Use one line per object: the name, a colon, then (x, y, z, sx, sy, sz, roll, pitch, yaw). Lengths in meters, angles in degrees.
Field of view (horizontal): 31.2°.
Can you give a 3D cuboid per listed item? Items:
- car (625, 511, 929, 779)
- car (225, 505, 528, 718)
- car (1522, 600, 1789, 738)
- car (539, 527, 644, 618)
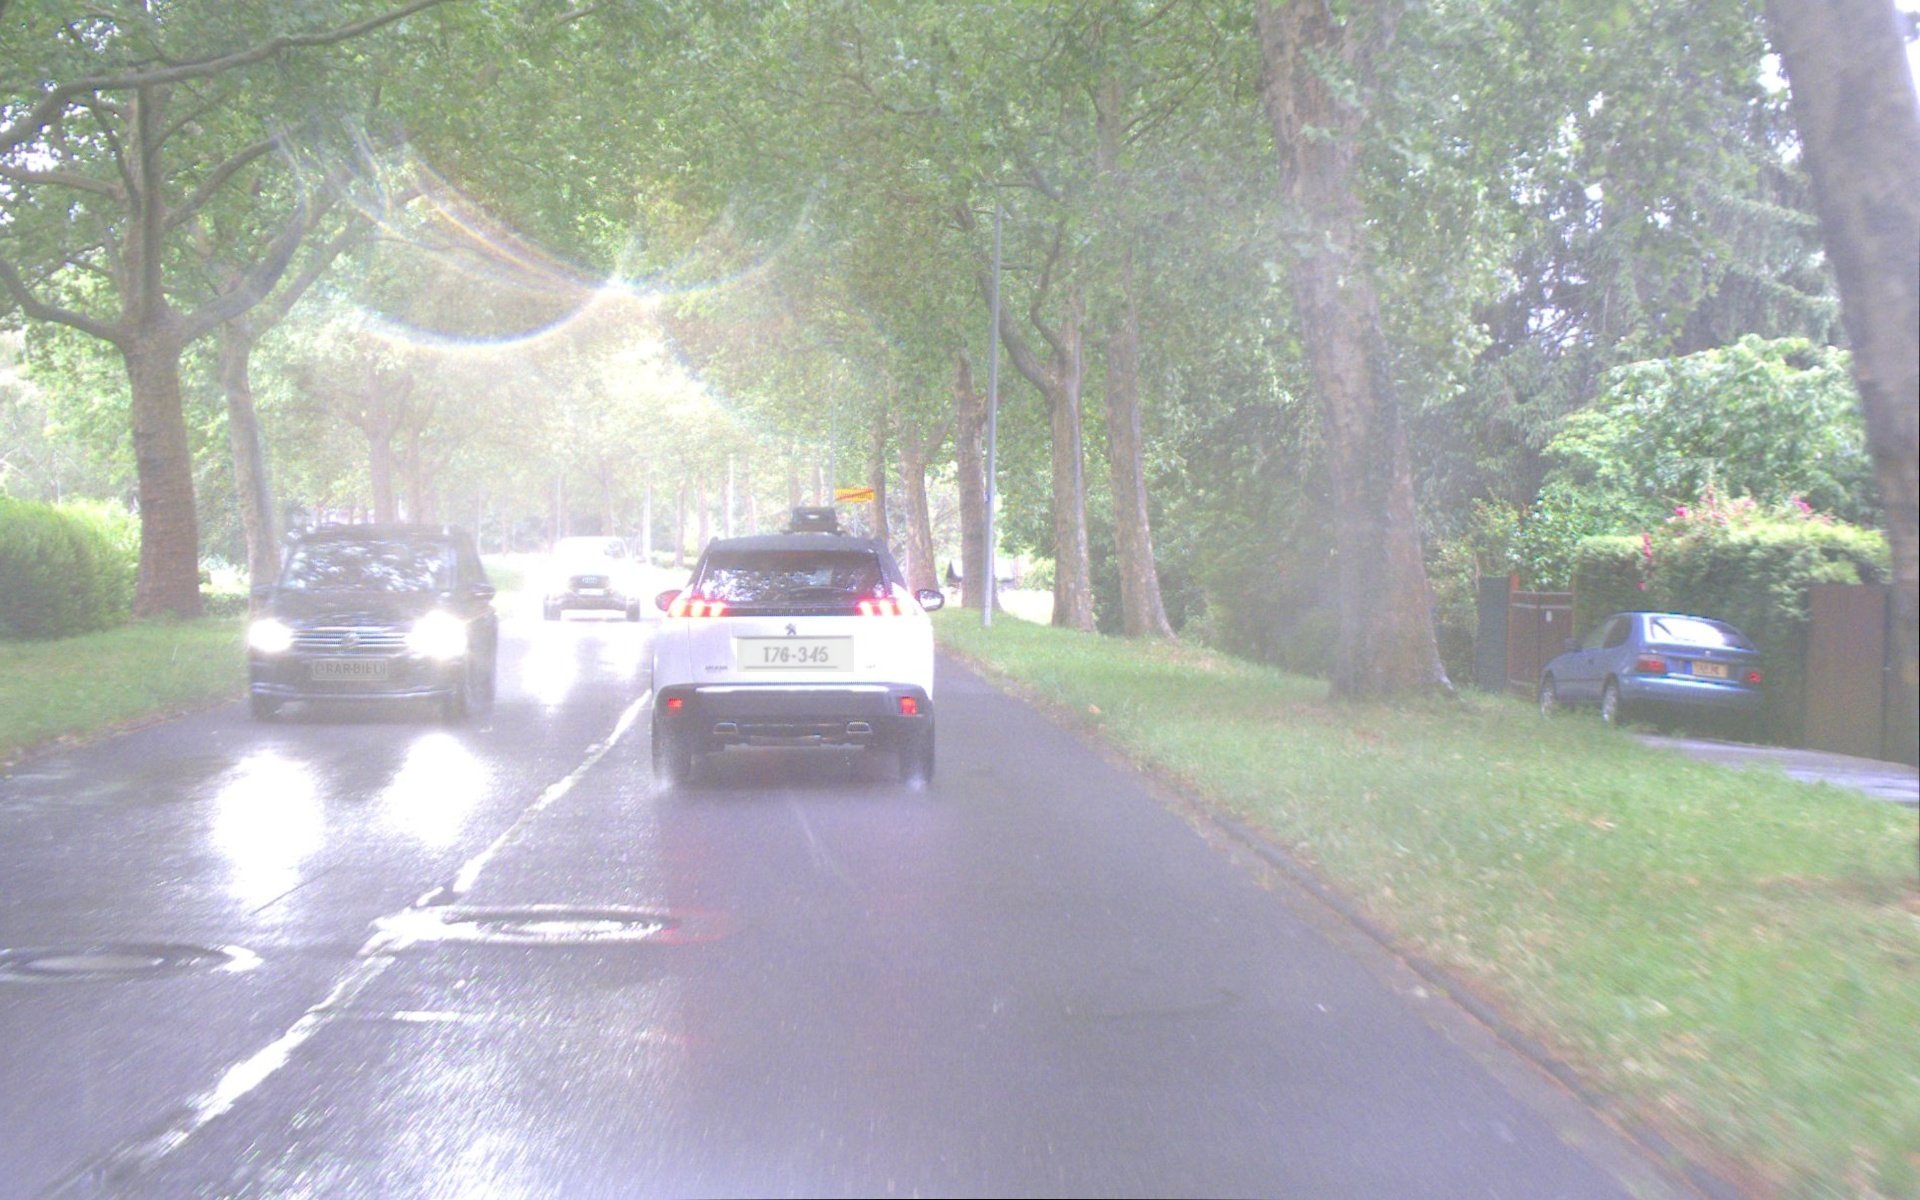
car: (-1.120, 0.242, 22.649, 1.794, 1.573, 3.844, 1, 1, -1)
car: (-4.938, 0.054, 29.730, 1.818, 1.649, 4.774, 1, 1, -1)
car: (8.073, 0.768, 40.250, 1.795, 1.321, 4.001, 5, 0, -7)
car: (-7.330, -0.564, 68.753, 1.808, 1.722, 4.455, 1, 1, -3)
